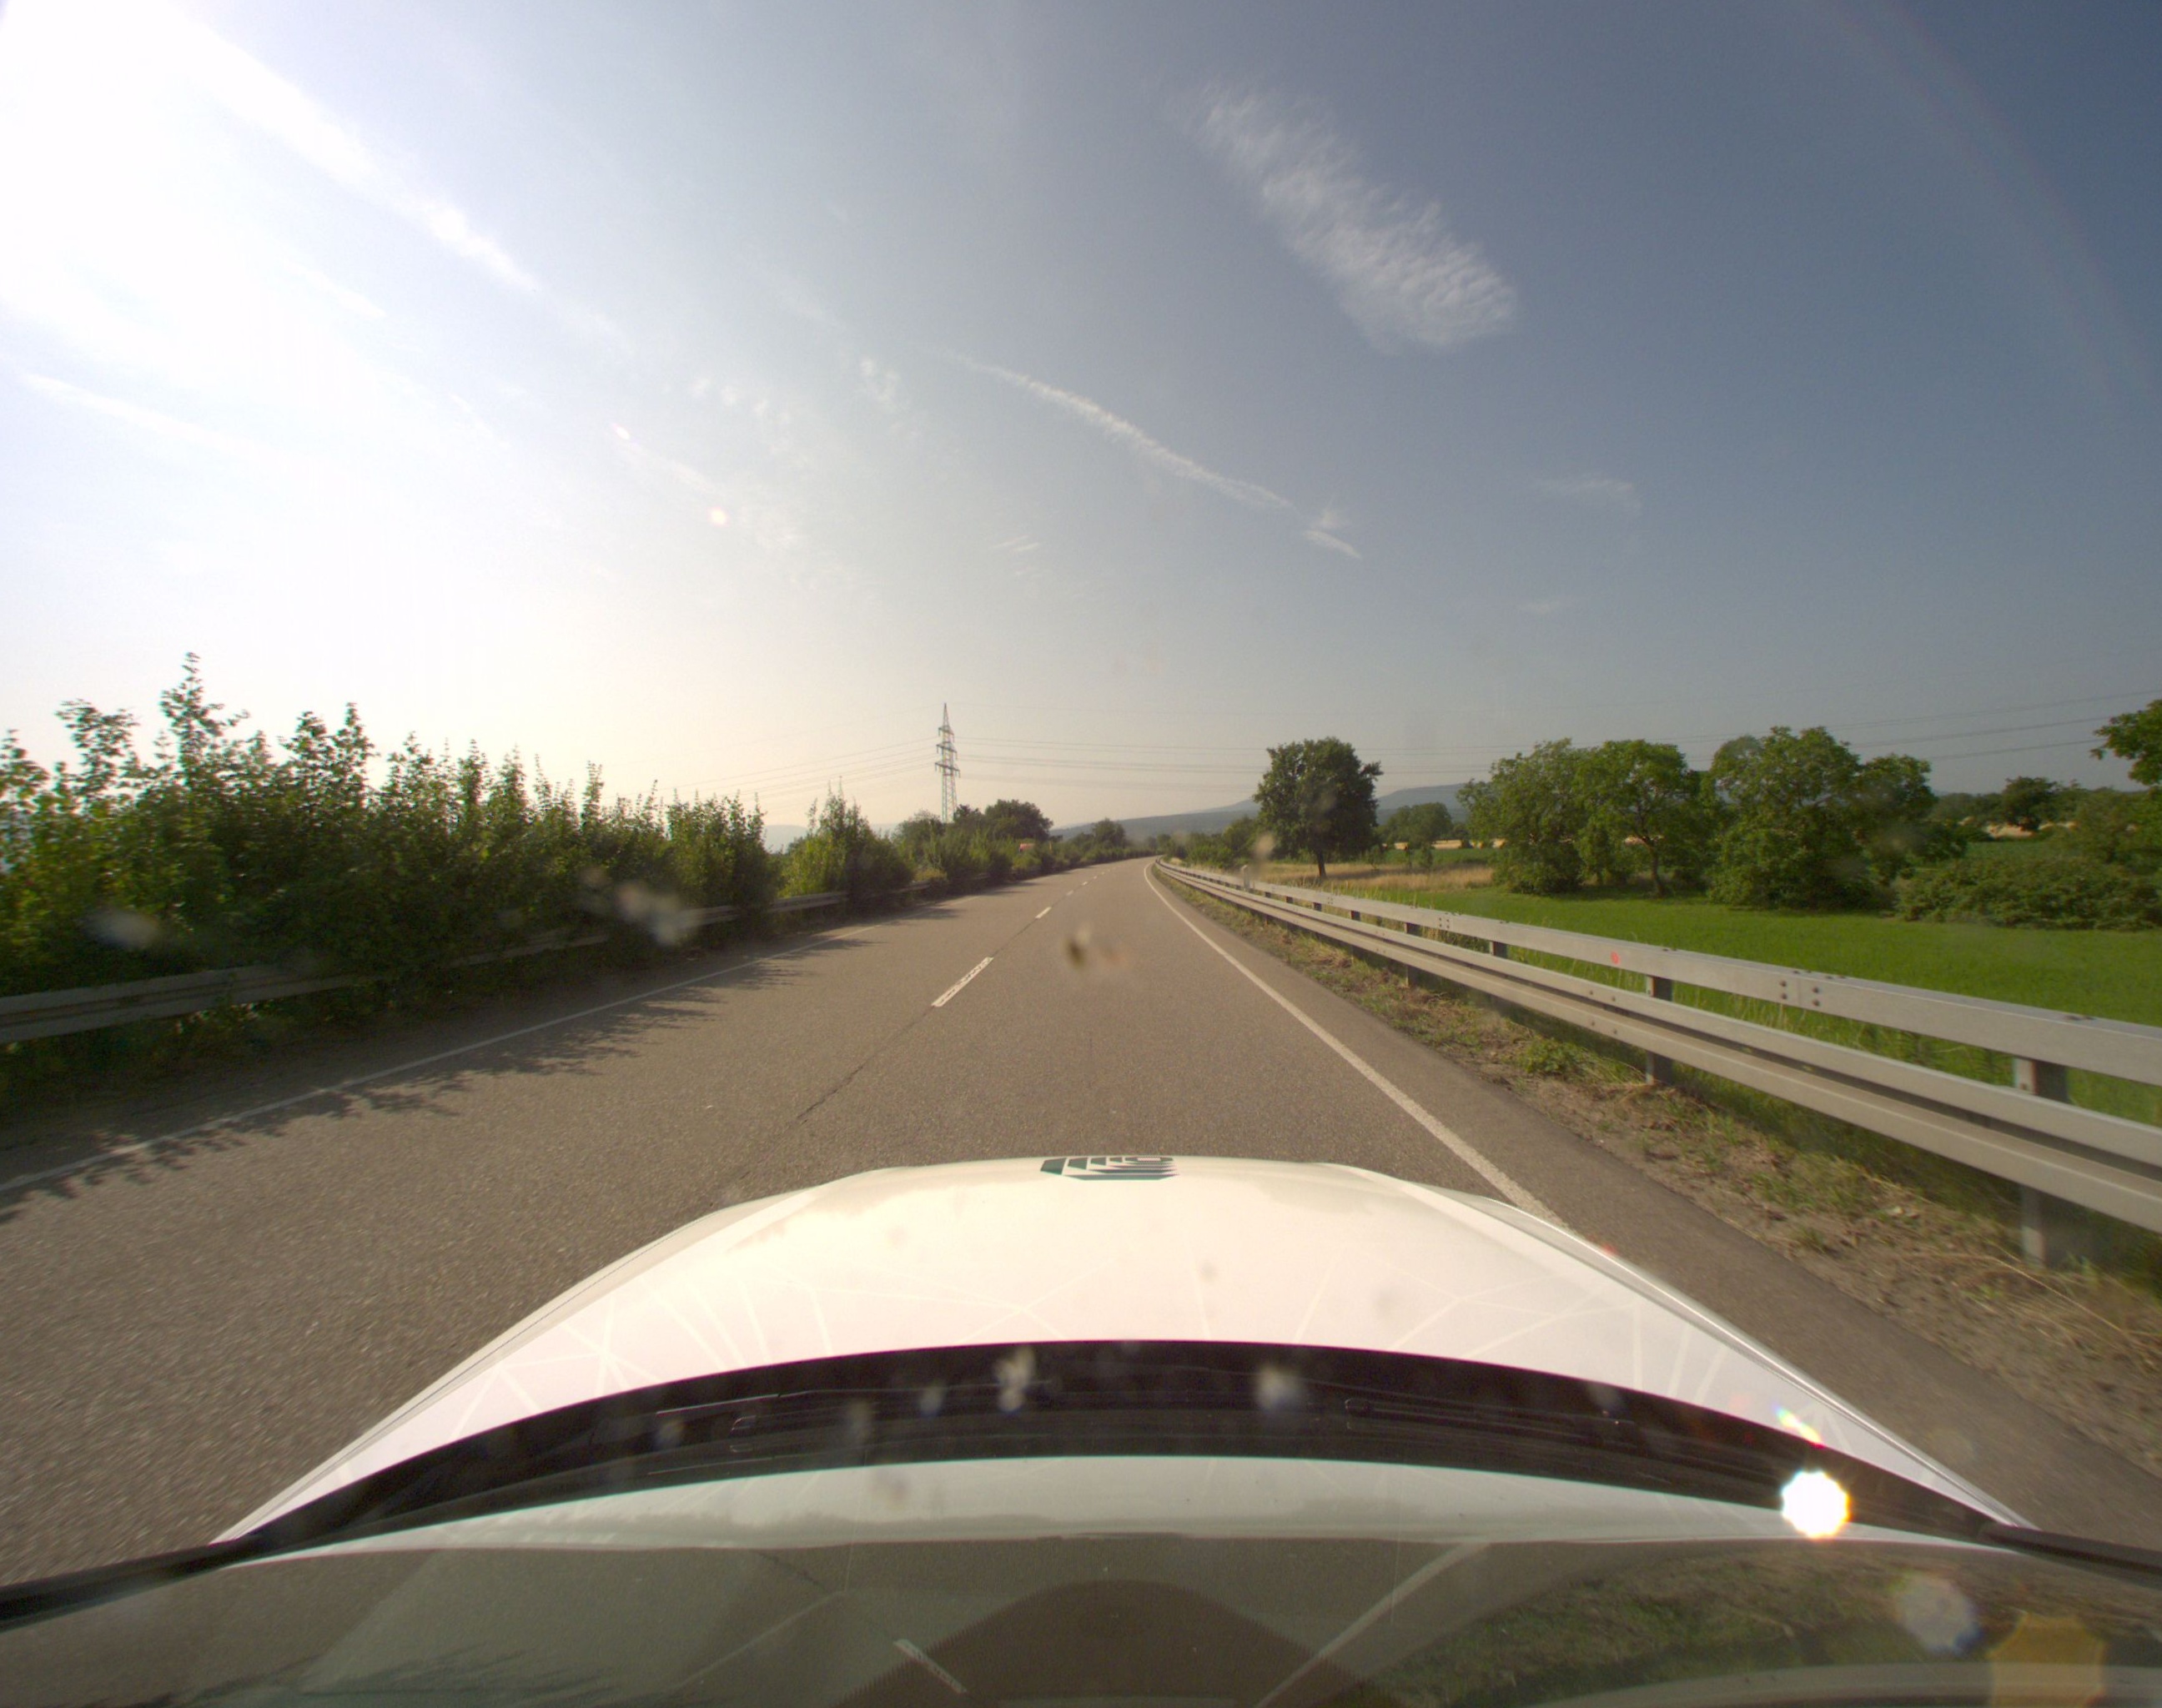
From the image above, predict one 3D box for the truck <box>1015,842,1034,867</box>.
[{"bbox_3d":[-8.078,0.074,117.356,1.985,3.375,5.633,-2,0,3],"label":"truck"}]
